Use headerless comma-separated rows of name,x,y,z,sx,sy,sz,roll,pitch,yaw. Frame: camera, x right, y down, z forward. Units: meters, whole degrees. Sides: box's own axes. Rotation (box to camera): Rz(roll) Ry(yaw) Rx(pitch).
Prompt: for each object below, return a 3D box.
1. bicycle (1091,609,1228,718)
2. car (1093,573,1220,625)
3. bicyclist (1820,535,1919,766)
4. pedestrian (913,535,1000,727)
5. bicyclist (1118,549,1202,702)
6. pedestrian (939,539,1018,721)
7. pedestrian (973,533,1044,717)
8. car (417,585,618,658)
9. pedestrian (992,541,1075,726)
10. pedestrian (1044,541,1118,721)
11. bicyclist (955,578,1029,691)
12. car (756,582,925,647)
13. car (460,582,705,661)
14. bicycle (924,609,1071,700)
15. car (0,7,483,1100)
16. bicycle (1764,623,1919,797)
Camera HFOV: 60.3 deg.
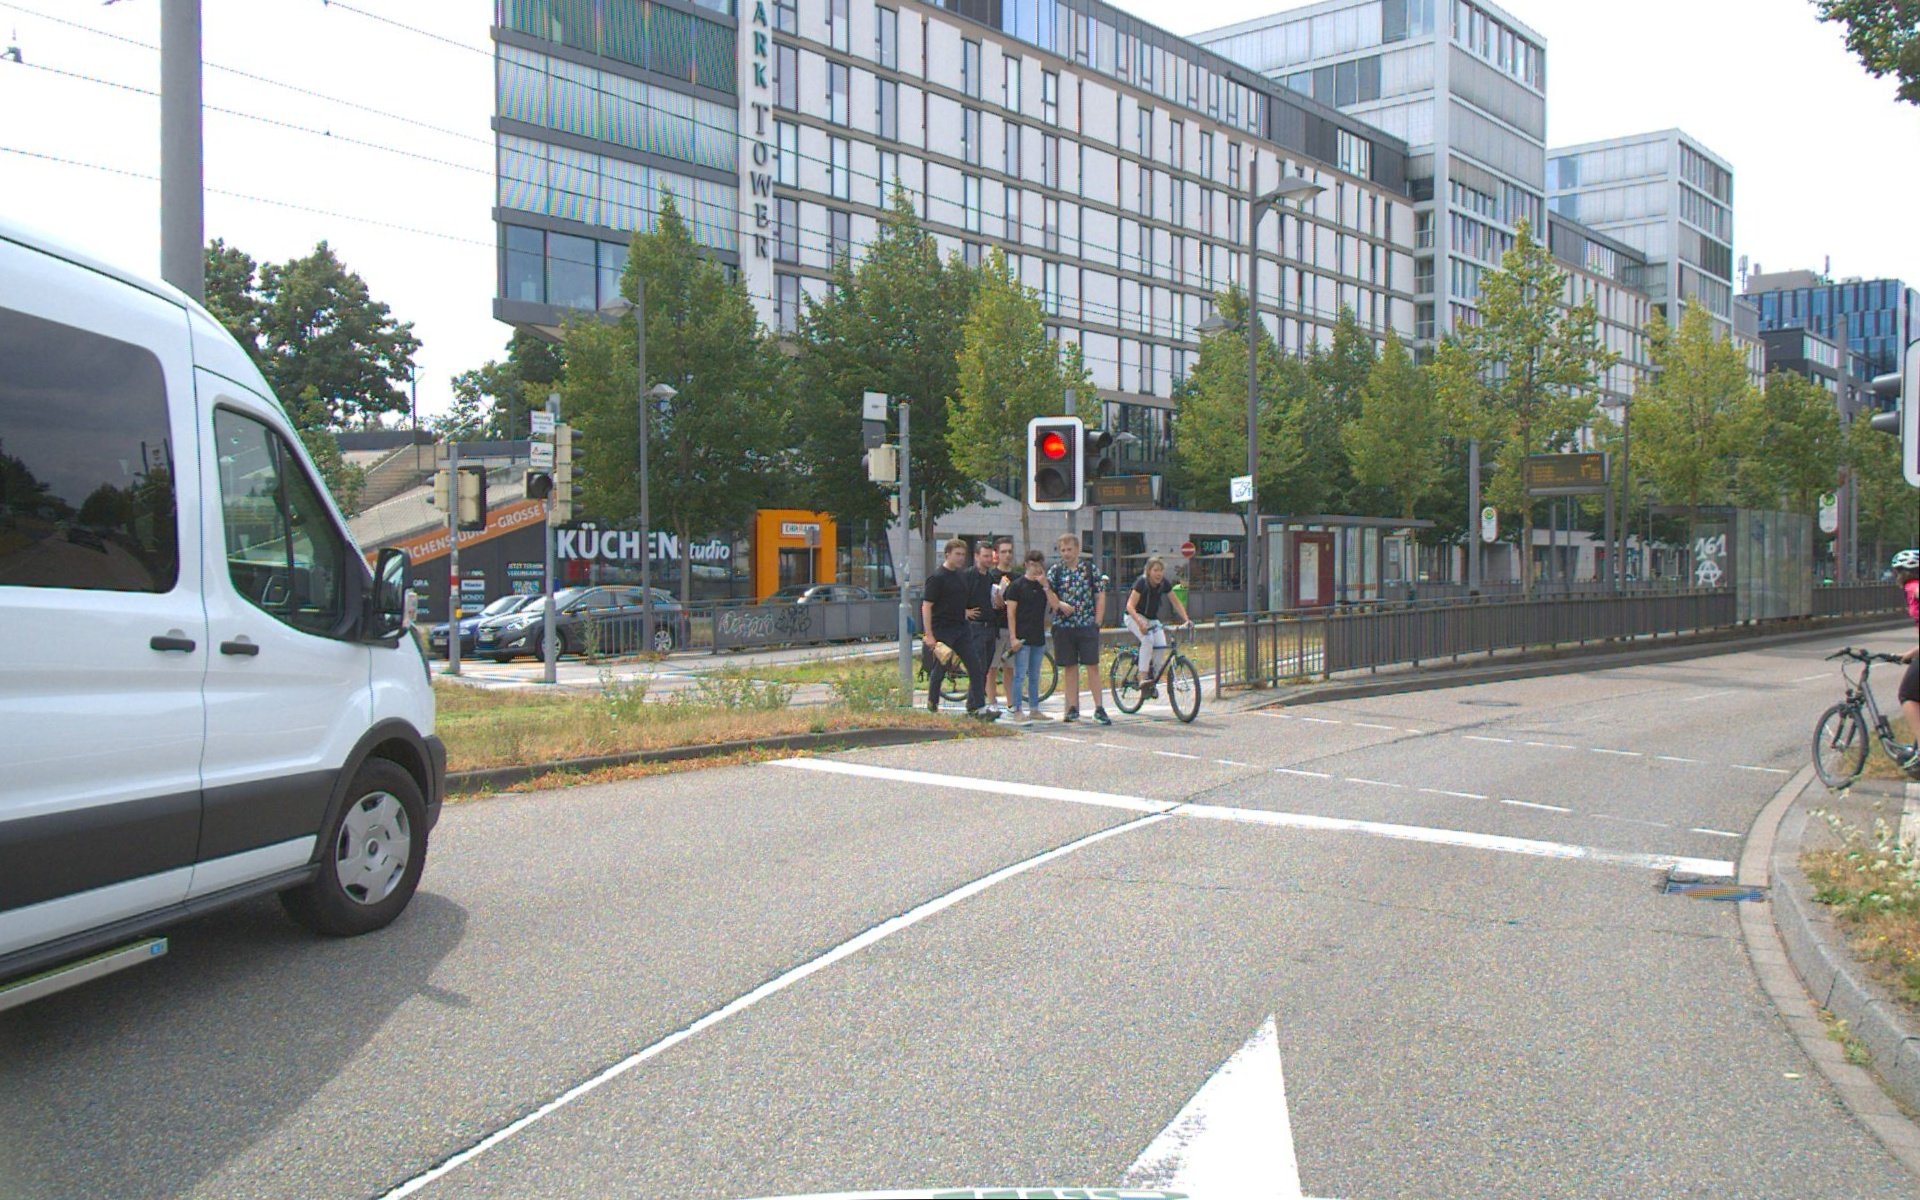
bicycle,2.138,0.661,17.917,0.541,1.077,1.695,0,1,-31
car,5.887,-0.054,49.204,1.816,1.483,3.976,1,1,42
bicyclist,7.119,0.350,12.293,0.778,1.655,1.042,-1,1,-21
pedestrian,-0.030,0.288,16.067,0.542,1.812,0.688,1,1,35
bicyclist,2.159,0.264,17.892,0.553,1.608,0.757,0,1,-32
pedestrian,0.190,0.291,16.885,0.542,1.812,0.631,1,1,35
pedestrian,0.514,0.253,17.440,0.542,1.894,0.529,1,1,35
car,-9.693,0.435,36.420,1.815,1.483,3.977,1,1,41
pedestrian,0.744,0.326,16.655,0.542,1.812,0.688,1,1,35
pedestrian,1.252,0.306,17.112,0.542,1.812,0.578,1,1,35
bicyclist,0.390,0.402,20.069,0.661,1.340,0.638,1,1,35
car,-2.859,0.317,40.178,1.816,1.483,3.976,1,1,42
car,-7.587,0.384,33.624,1.815,1.483,4.711,1,1,41
bicycle,0.444,0.642,20.038,1.720,1.024,0.652,1,1,35
car,-3.417,-0.122,4.562,2.081,2.744,5.636,0,1,6
bicycle,7.106,0.805,12.333,0.777,1.188,2.029,-1,1,-21
